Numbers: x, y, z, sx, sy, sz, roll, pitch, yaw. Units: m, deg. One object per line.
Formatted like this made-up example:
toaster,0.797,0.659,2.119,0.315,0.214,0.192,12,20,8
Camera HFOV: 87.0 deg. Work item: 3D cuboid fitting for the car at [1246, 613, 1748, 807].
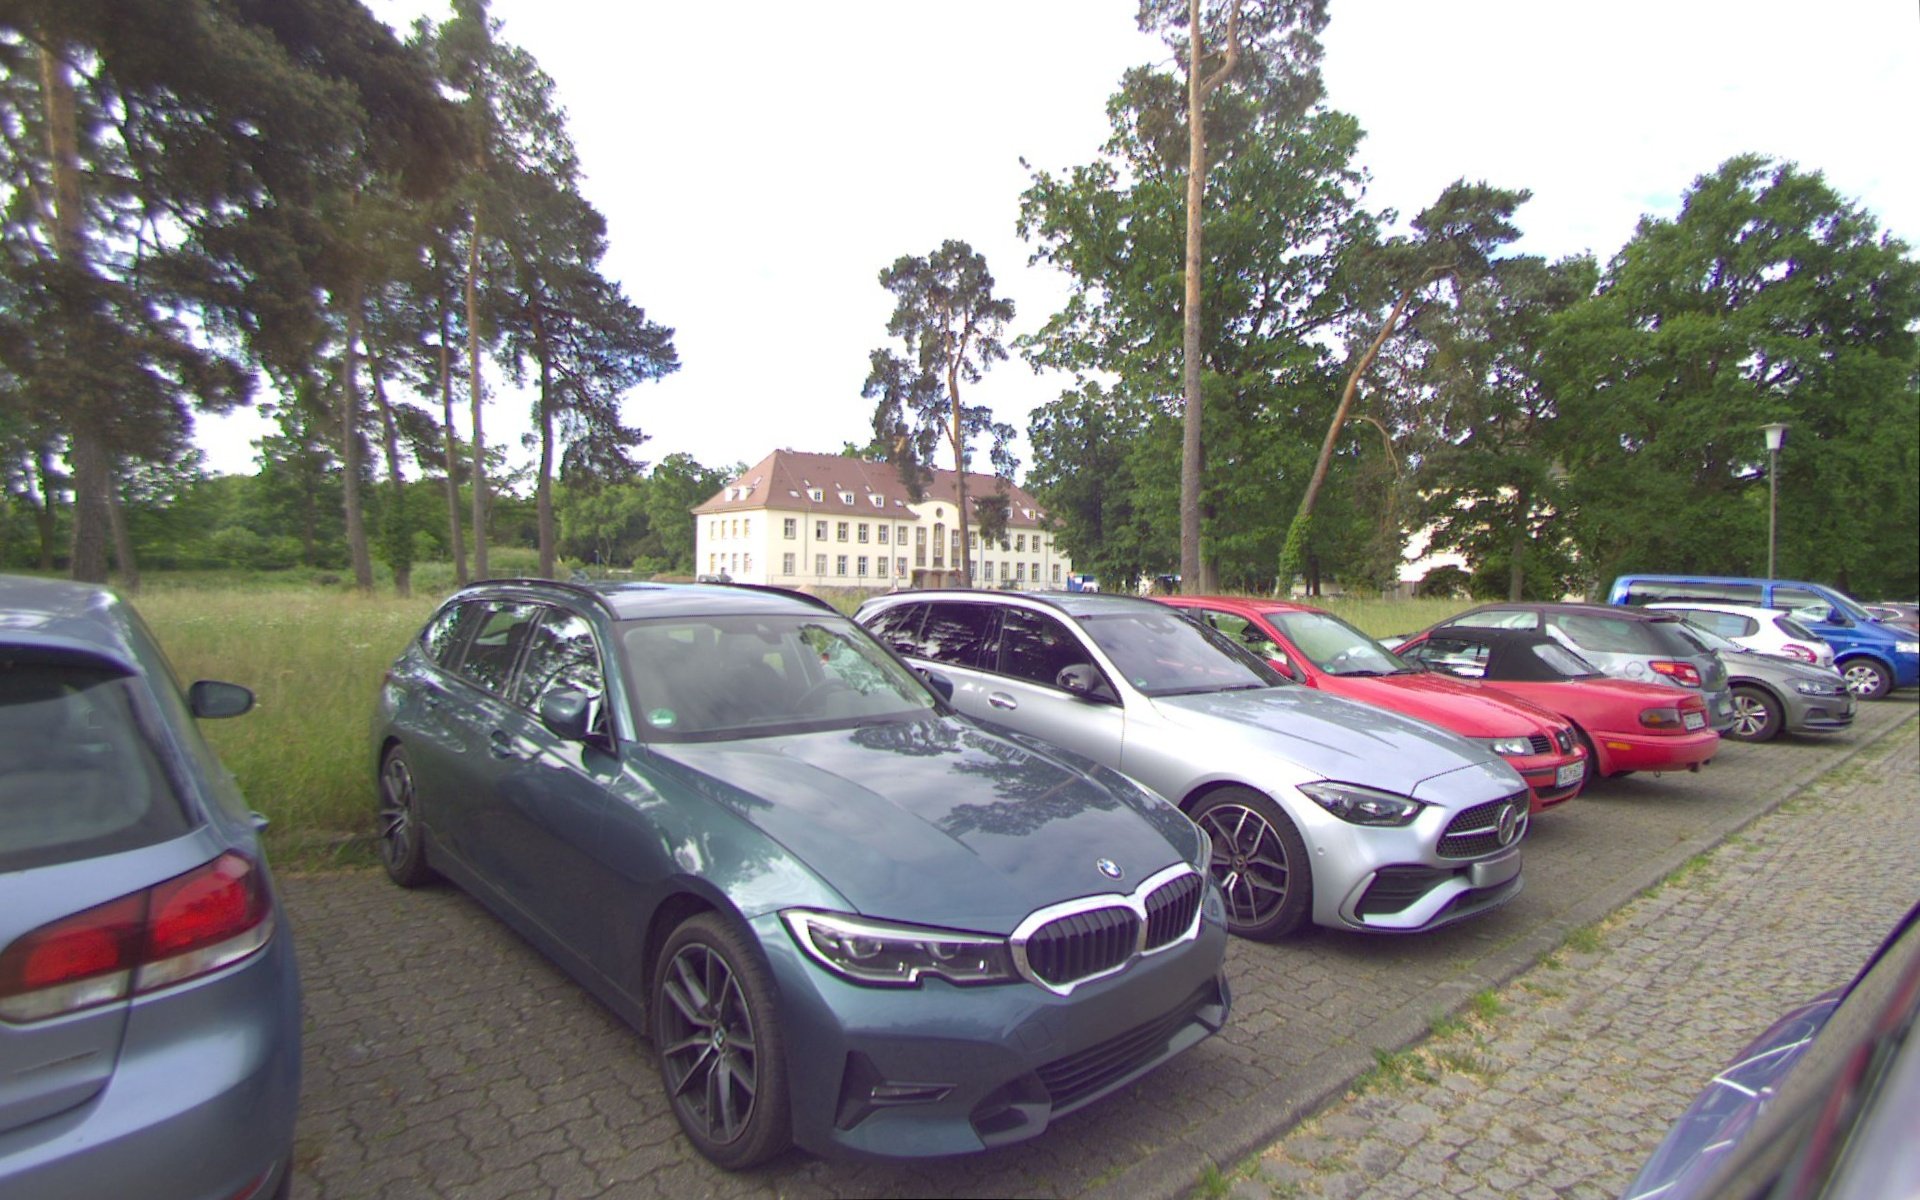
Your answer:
car,4.476,0.787,8.869,1.468,1.222,3.599,1,1,-40

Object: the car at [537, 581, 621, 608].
car,-21.798,-0.342,57.978,4.182,1.433,1.886,-1,2,-40

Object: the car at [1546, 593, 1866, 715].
car,10.572,0.668,14.514,1.608,1.470,3.407,0,1,-40

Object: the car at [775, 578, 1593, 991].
car,0.867,0.648,6.170,1.780,1.501,4.766,0,1,-40

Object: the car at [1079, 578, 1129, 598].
car,14.756,-1.230,103.505,5.129,2.039,2.154,0,1,-39

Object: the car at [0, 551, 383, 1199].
car,-2.850,0.602,2.667,1.578,1.444,3.770,1,2,-41

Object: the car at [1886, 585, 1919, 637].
car,39.554,0.481,40.105,1.964,2.039,3.996,0,1,-39

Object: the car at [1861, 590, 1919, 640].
car,36.160,0.572,37.425,1.964,1.784,4.007,0,1,-39

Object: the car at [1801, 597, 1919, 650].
car,28.468,0.697,30.923,1.965,1.549,3.994,0,0,-40

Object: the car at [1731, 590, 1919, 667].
car,21.019,0.618,24.017,1.965,1.630,3.995,0,1,-40

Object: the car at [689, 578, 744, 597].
car,-25.101,-1.300,104.312,6.169,1.882,2.305,2,1,40

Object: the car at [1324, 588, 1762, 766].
car,6.177,0.674,11.020,1.769,1.524,3.781,0,1,-43

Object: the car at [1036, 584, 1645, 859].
car,2.604,0.648,7.678,1.768,1.470,3.969,0,1,-40

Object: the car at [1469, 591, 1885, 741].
car,8.652,0.673,12.489,1.787,1.474,3.849,0,1,-38

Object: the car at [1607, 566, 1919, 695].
car,14.574,0.429,18.041,1.965,1.963,4.746,0,2,-41

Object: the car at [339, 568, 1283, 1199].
car,-1.188,0.632,4.506,1.732,1.501,4.761,0,1,-44
